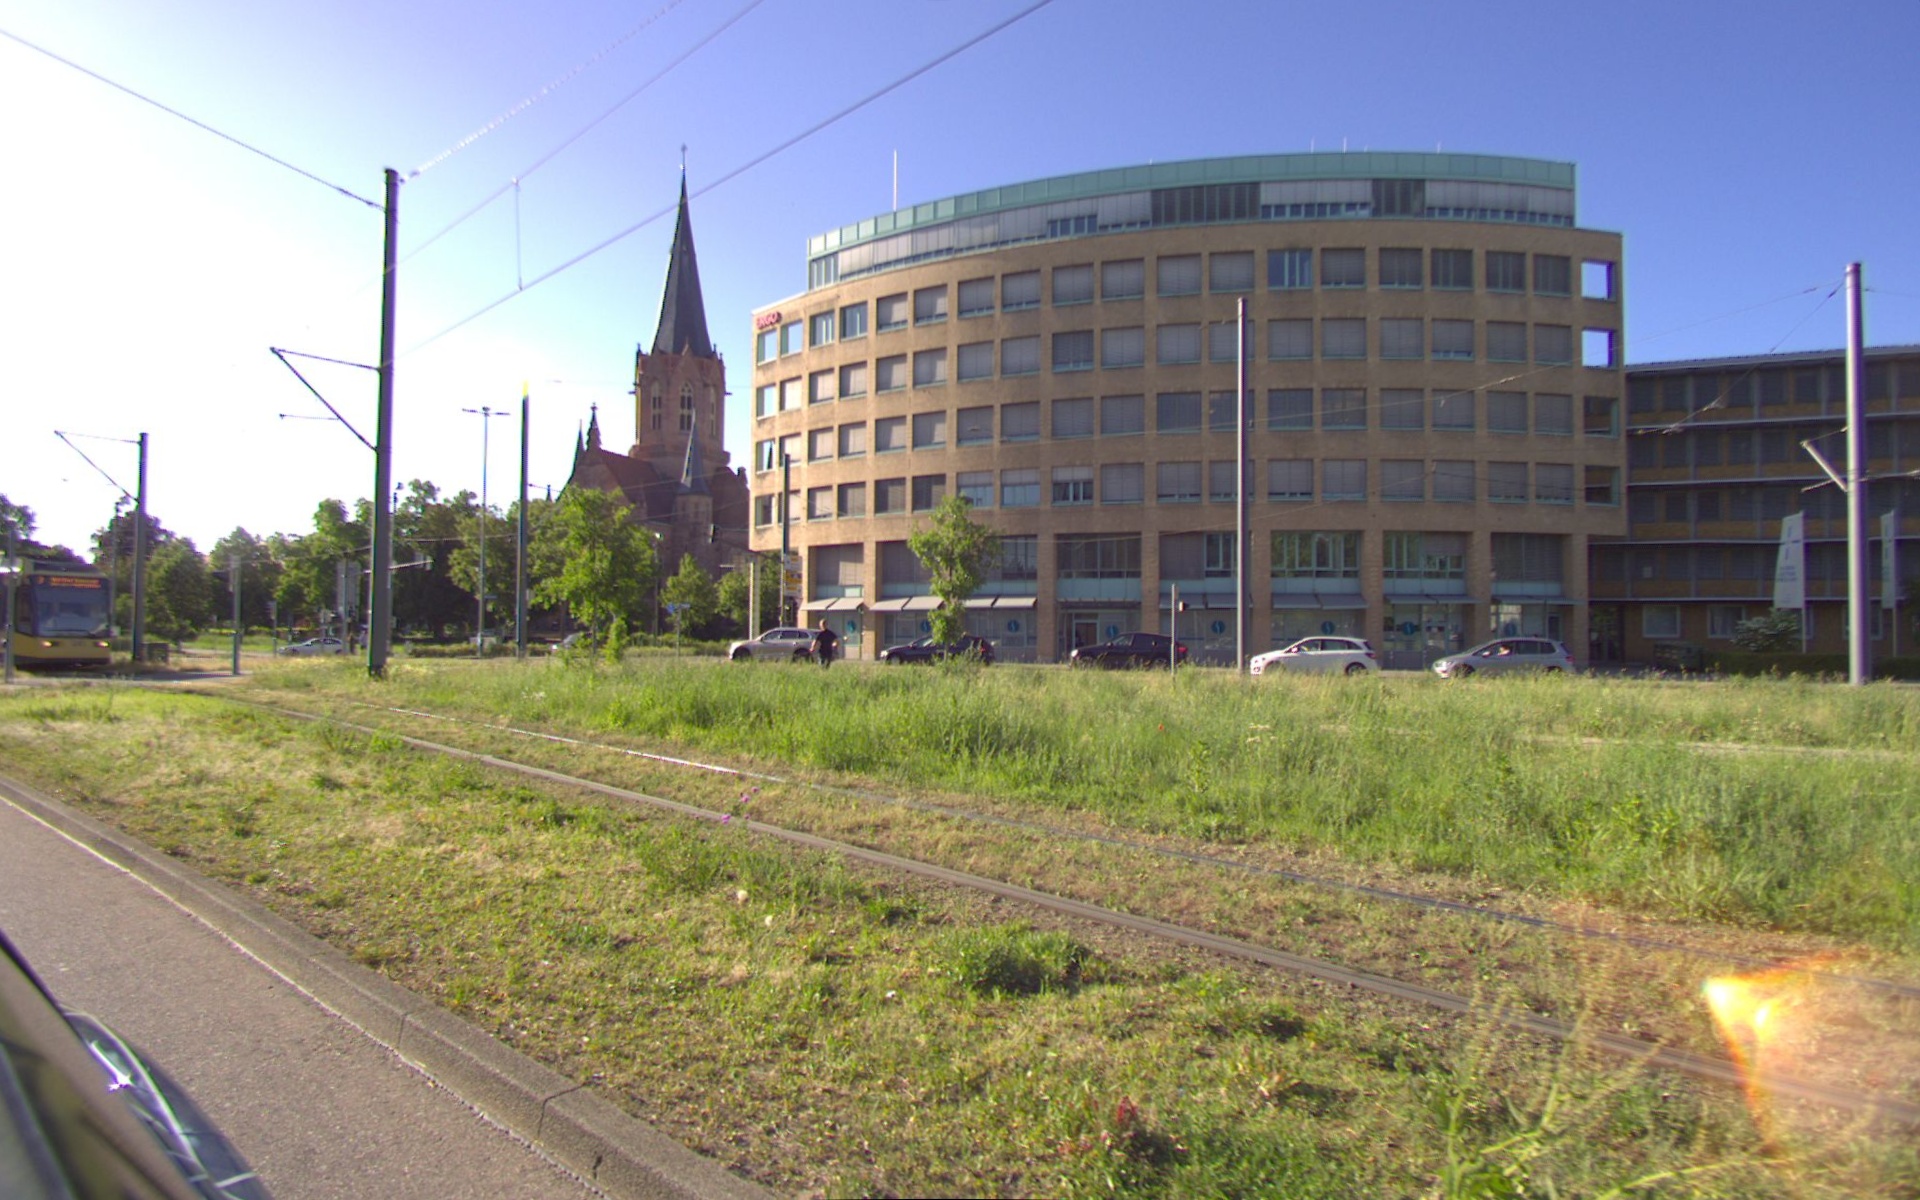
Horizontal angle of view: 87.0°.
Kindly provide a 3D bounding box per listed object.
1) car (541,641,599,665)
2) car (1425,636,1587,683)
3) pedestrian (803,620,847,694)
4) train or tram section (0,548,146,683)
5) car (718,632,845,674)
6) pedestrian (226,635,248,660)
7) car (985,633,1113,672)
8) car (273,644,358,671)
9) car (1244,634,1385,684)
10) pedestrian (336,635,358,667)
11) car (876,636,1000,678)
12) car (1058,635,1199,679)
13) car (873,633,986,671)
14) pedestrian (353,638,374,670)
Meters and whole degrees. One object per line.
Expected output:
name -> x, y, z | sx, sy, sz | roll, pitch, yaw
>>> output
car -> -28.600, 3.871, 74.373 | 1.825, 1.586, 3.914 | 0, 0, 22
car -> 18.329, 1.965, 34.217 | 4.470, 1.438, 1.990 | 0, 0, 16
pedestrian -> -3.165, 1.324, 23.775 | 0.725, 1.683, 0.745 | 2, -3, -43
train or tram section -> -30.894, 0.586, 31.953 | 13.115, 3.713, 2.932 | -1, -2, 27
car -> -7.679, 2.251, 43.551 | 5.045, 1.747, 2.093 | -1, -2, 19
pedestrian -> -53.934, 3.544, 75.527 | 1.106, 1.860, 0.840 | 0, -1, 18
car -> 3.730, 2.146, 42.244 | 4.987, 1.458, 1.985 | 0, 0, 23
car -> -43.604, 3.888, 68.541 | 4.641, 1.586, 1.771 | 0, 0, -42
car -> 12.610, 2.064, 36.196 | 4.619, 1.608, 1.988 | 0, 0, 19
pedestrian -> -39.969, 3.339, 65.992 | 0.919, 2.029, 0.873 | 0, 0, 21
car -> -0.876, 2.260, 40.848 | 4.626, 1.528, 1.987 | 0, 0, 19
car -> 6.370, 2.123, 38.286 | 4.987, 1.458, 1.985 | 0, 0, 23
car -> -1.503, 2.527, 49.669 | 5.172, 1.681, 2.110 | 0, 0, 20
pedestrian -> -39.534, 3.584, 67.074 | 0.919, 2.029, 0.873 | 0, 0, 21
